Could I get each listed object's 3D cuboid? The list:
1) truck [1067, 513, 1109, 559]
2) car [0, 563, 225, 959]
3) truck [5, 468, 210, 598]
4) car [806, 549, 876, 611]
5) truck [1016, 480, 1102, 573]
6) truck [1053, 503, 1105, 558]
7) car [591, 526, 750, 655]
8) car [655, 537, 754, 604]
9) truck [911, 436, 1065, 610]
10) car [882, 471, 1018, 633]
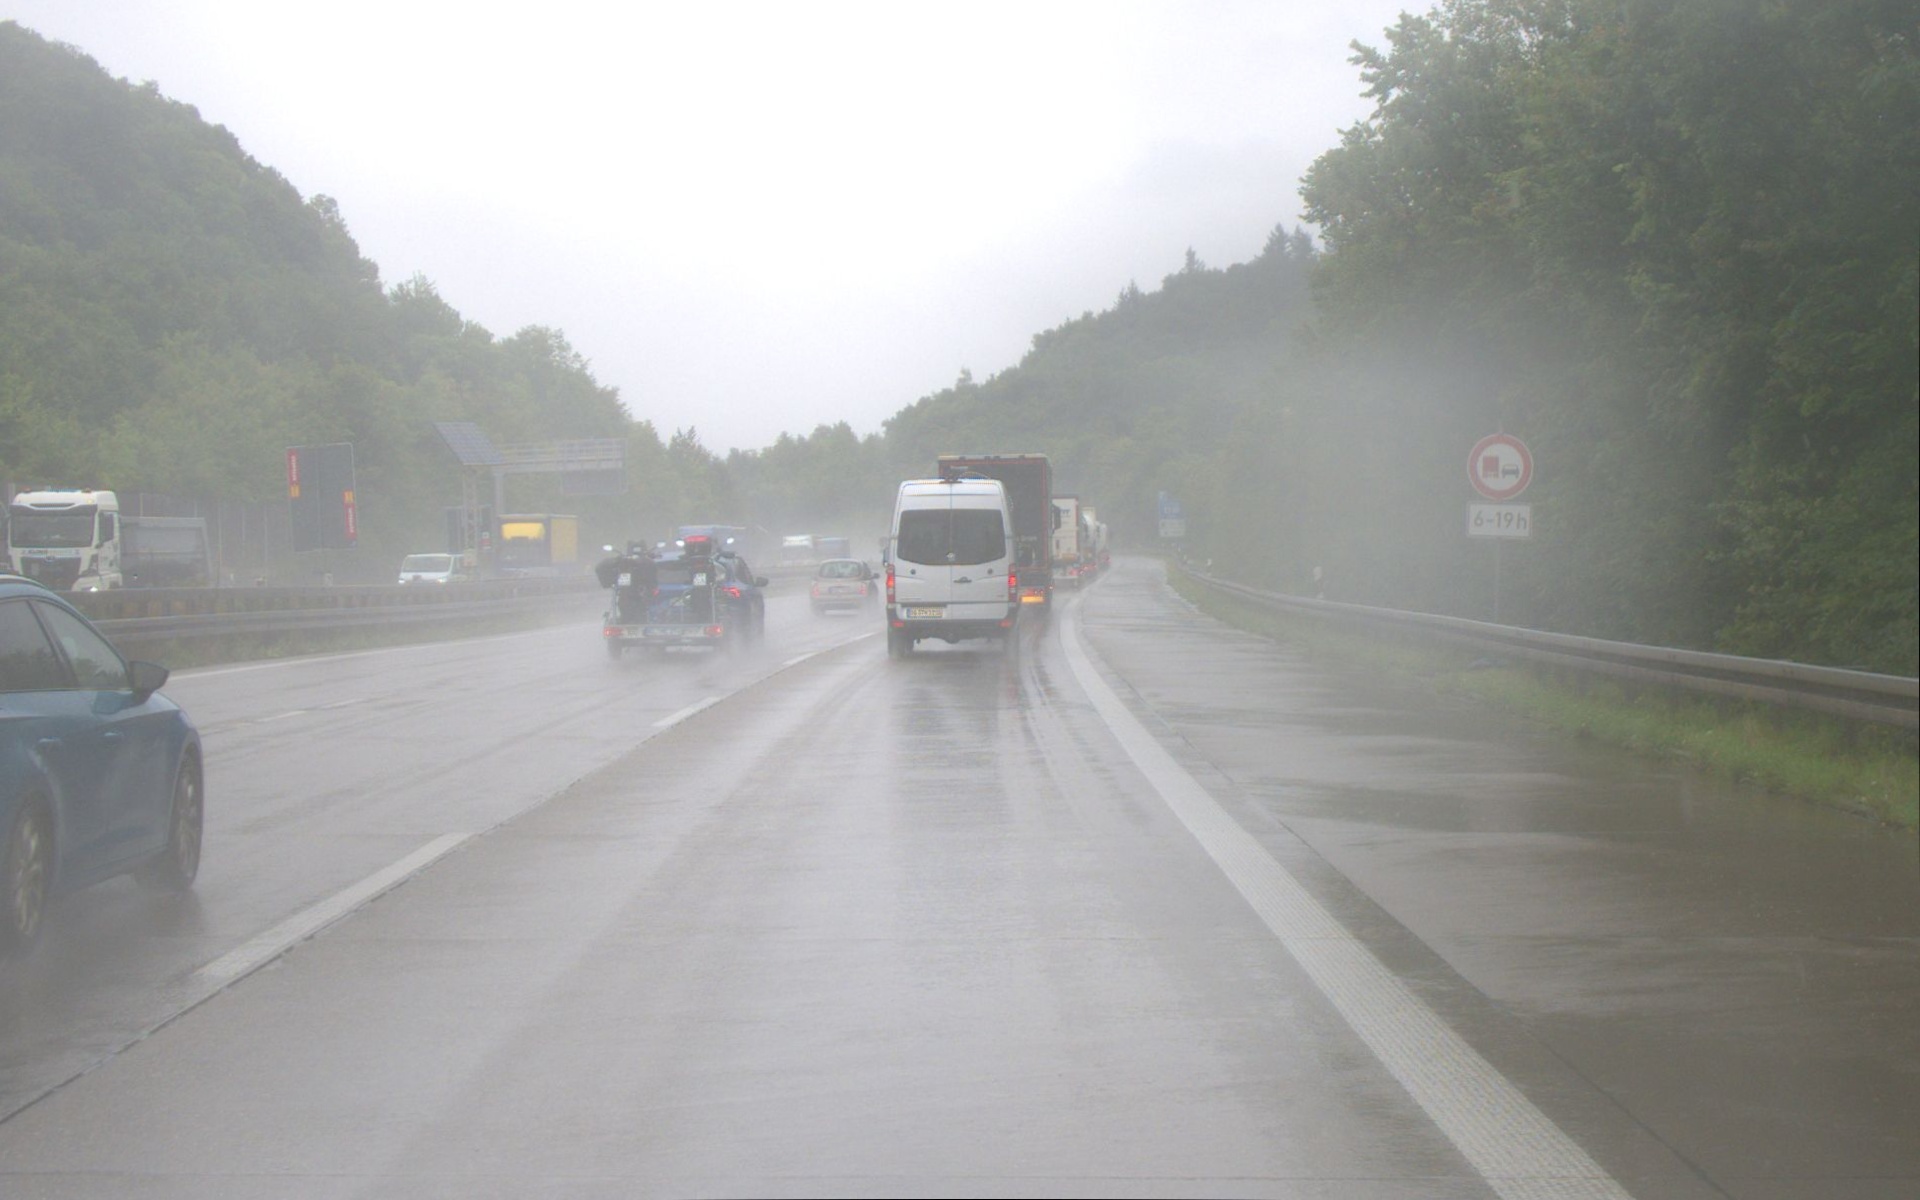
[{"bbox_3d":[8.456,-4.253,228.355,2.585,2.971,9.026,1,1,1],"label":"truck"},{"bbox_3d":[-4.263,0.538,13.485,1.856,1.334,4.351,1,1,-1],"label":"car"},{"bbox_3d":[-23.183,-1.825,94.145,2.774,3.304,11.516,1,1,0],"label":"truck"},{"bbox_3d":[-3.189,-0.554,92.857,1.614,1.622,4.189,1,1,1],"label":"car"},{"bbox_3d":[4.402,-3.178,150.705,3.091,3.896,9.052,1,1,5],"label":"truck"},{"bbox_3d":[6.630,-3.851,190.908,2.586,2.971,9.025,1,1,4],"label":"truck"},{"bbox_3d":[-4.224,-0.167,50.779,1.868,1.804,4.189,1,1,1],"label":"car"},{"bbox_3d":[-6.025,-0.716,81.572,1.993,1.525,4.000,0,1,1],"label":"car"},{"bbox_3d":[0.794,-2.017,85.403,3.385,3.954,8.667,-3,3,2],"label":"truck"},{"bbox_3d":[-0.097,-0.734,52.531,1.899,2.326,5.250,1,1,1],"label":"car"}]
